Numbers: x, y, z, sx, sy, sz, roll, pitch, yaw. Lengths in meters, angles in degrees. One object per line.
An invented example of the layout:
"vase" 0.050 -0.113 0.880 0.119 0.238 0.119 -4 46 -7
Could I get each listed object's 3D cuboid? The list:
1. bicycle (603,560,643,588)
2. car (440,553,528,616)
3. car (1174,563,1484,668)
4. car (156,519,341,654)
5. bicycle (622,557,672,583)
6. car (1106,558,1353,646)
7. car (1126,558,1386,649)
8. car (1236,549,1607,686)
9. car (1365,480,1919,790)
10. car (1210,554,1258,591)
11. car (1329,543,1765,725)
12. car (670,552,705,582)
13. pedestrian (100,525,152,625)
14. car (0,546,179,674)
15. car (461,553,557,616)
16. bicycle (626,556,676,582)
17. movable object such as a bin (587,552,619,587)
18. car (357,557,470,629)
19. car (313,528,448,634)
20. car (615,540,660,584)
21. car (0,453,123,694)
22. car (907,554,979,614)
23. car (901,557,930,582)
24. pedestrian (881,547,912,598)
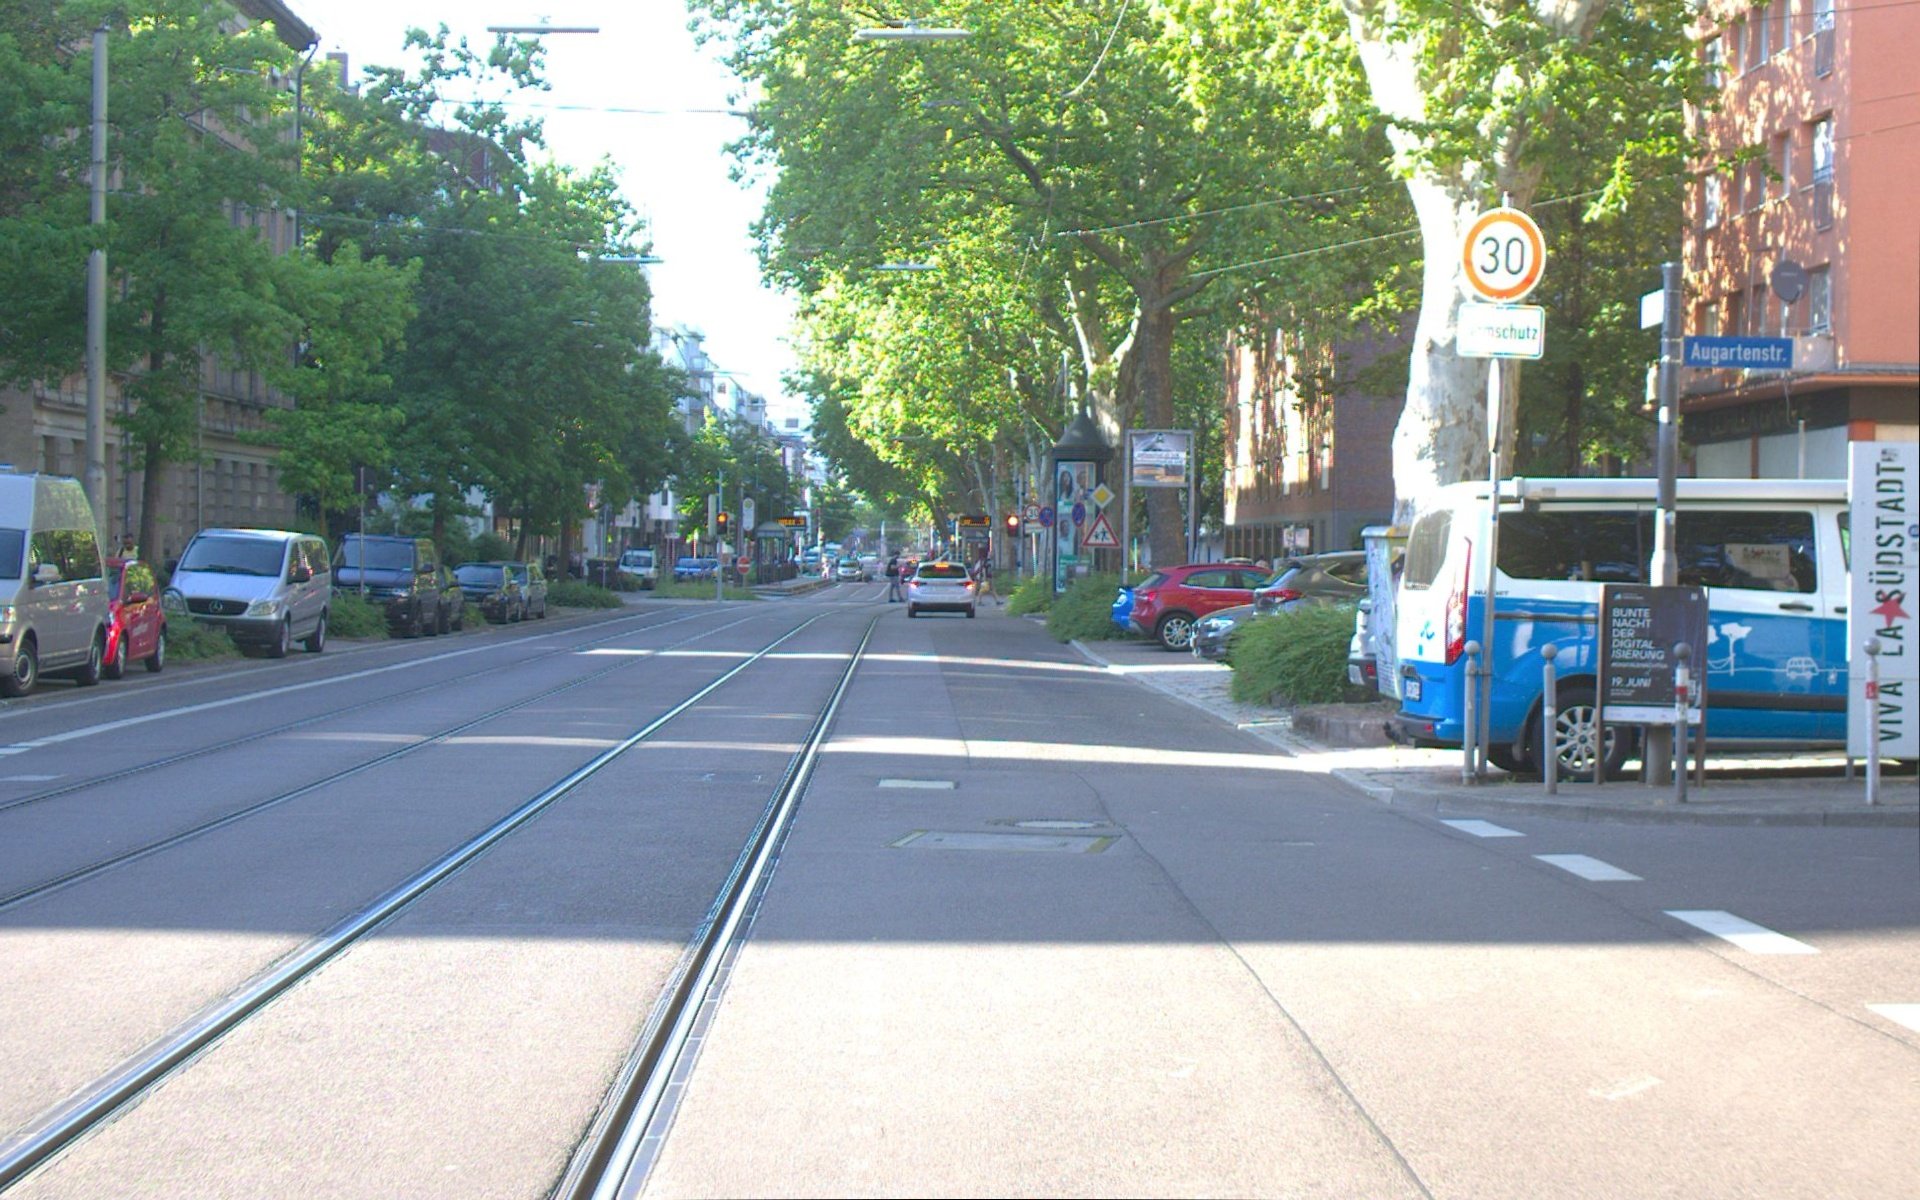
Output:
"bicycle" -13.952 -1.089 142.277 1.533 1.071 0.885 4 1 -1
"car" -11.497 -0.400 83.182 1.658 1.440 3.950 1 1 -1
"car" 5.235 0.206 49.111 4.199 1.443 1.818 0 1 -1
"car" -10.975 -0.235 53.353 1.843 1.982 4.988 0 1 0
"bicycle" -14.663 -1.426 161.065 2.253 1.070 0.636 4 1 1
"car" 4.903 0.020 62.321 4.404 1.537 1.817 0 1 6
"car" 5.125 0.046 60.039 4.403 1.537 1.952 0 1 2
"car" 5.595 0.195 42.046 4.199 1.613 1.879 0 1 -3
"car" 5.458 0.196 24.120 4.845 2.007 2.195 -1 1 -4
"car" 11.276 -1.137 141.631 1.600 1.490 3.417 0 1 -2
"car" 5.548 0.301 32.799 3.781 1.613 1.791 -1 1 -3
"car" -14.712 -1.779 185.890 1.593 1.543 4.000 3 1 -1
"pedestrian" -14.172 -0.430 58.430 0.605 1.656 0.947 2 1 0
"car" -11.080 0.089 43.373 1.685 1.534 3.708 0 1 -1
"car" -11.584 -0.414 88.557 1.700 1.545 4.536 1 1 2
"bicycle" -14.794 -1.486 164.761 2.253 1.070 0.636 4 1 1
"movable object such as a bin" -14.563 -1.245 140.198 1.169 1.344 0.783 4 0 -5
"car" -11.540 -0.170 72.782 1.853 1.453 4.270 0 1 -2
"car" -11.349 -0.392 67.611 1.993 2.007 4.835 0 1 -2
"car" -14.398 -1.709 153.595 1.688 1.933 4.000 0 1 -1
"car" -11.025 -0.316 38.299 2.303 2.499 5.344 0 1 -3
"car" -0.456 -0.429 88.149 1.788 1.508 4.000 0 1 -1
"car" -2.762 -1.915 212.369 1.788 1.508 4.000 0 1 -1
"pedestrian" -2.219 -0.967 120.414 0.994 1.805 0.864 0 1 -6
